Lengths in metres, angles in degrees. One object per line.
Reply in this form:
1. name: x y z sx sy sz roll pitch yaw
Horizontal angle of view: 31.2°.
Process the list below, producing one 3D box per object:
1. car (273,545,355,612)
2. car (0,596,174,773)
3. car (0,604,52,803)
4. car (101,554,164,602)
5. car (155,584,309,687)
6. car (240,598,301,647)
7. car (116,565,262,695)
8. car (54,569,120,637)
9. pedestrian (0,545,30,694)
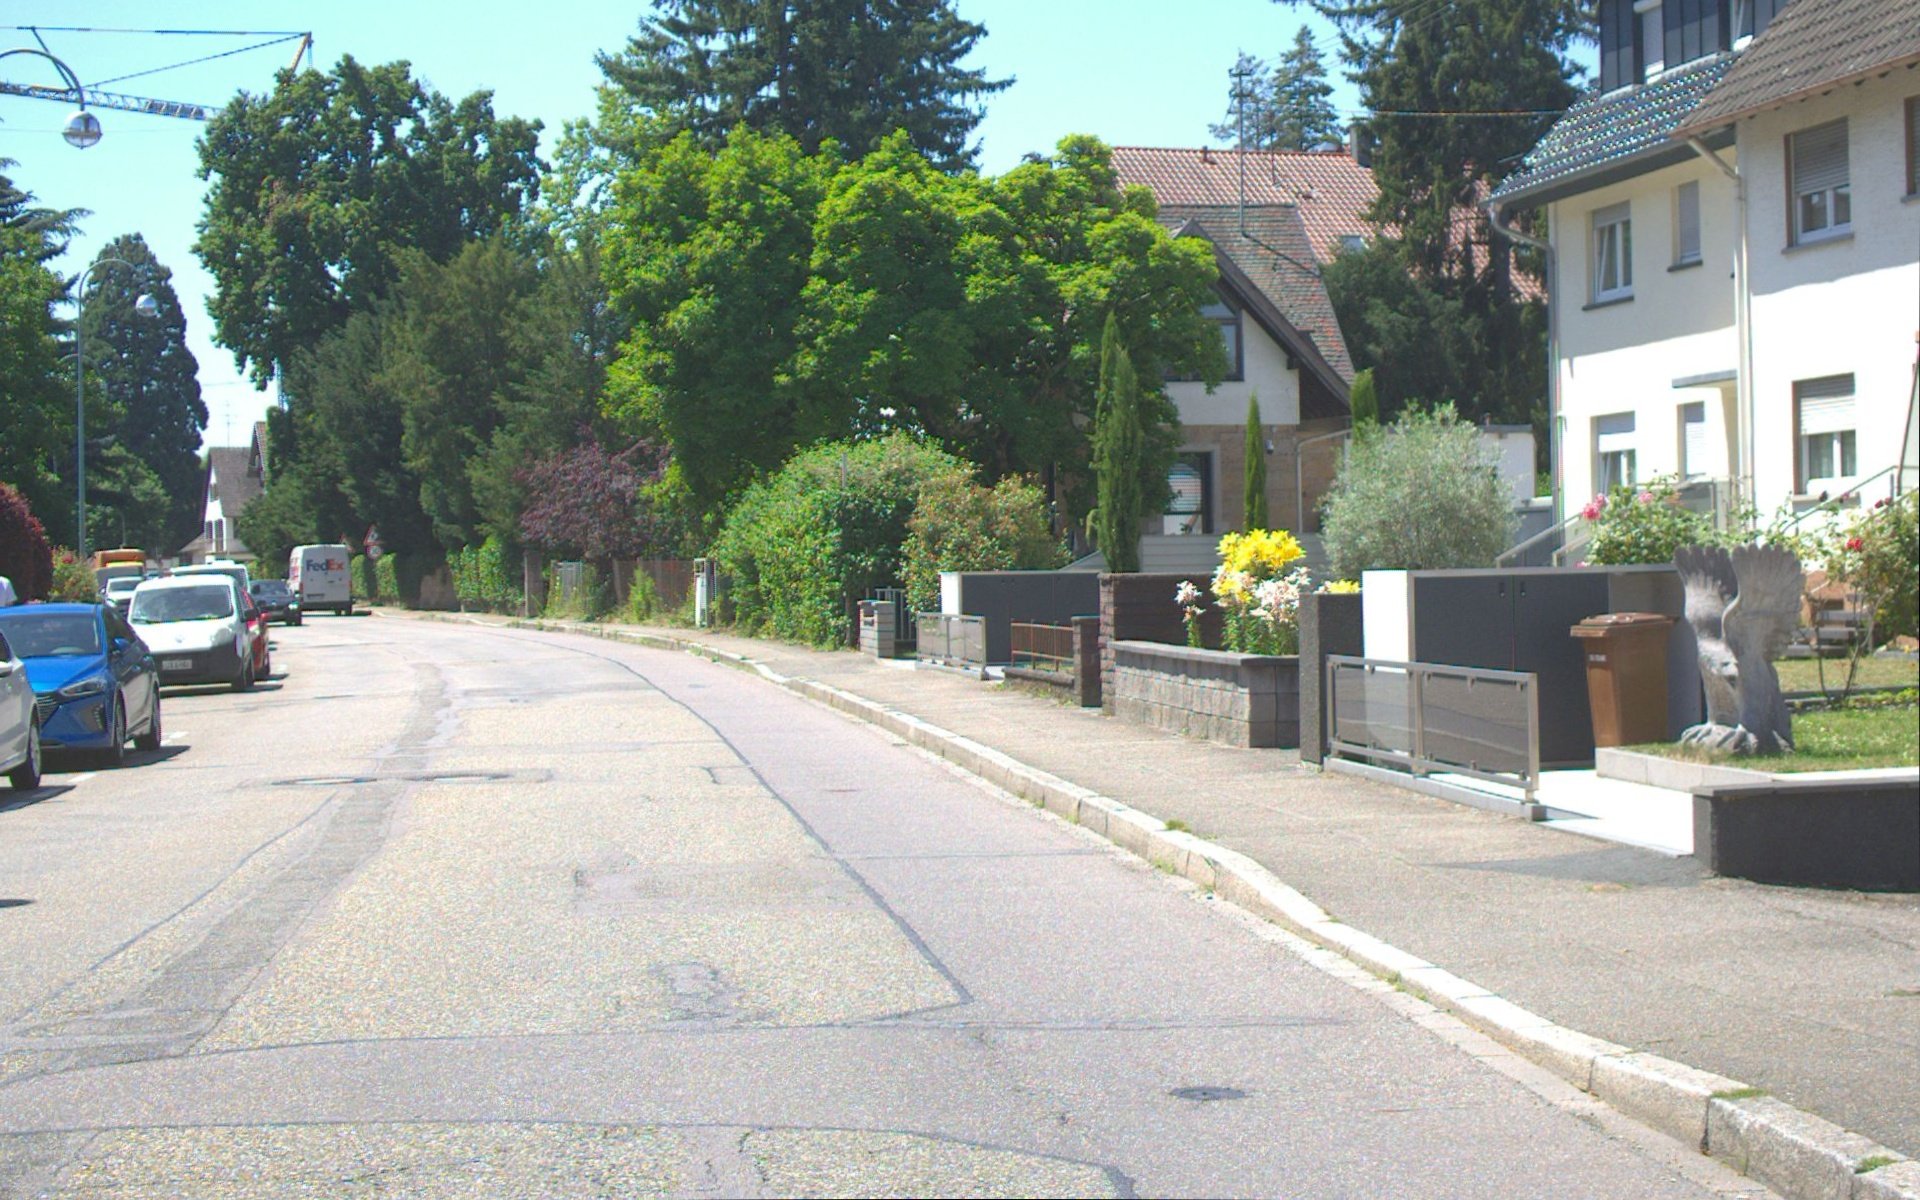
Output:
1. car: -23.557 -0.793 125.172 2.143 2.307 4.854 -3 1 -19
2. car: -8.336 0.733 31.285 1.769 1.434 4.363 -3 1 -6
3. car: -7.882 0.807 25.528 1.578 1.418 3.941 -3 1 -6
4. car: -31.347 -0.823 130.086 1.850 1.665 4.714 -3 1 -18
5. car: -11.705 0.545 55.506 1.760 1.472 4.059 -3 1 -3
6. car: -21.294 0.687 106.240 1.731 1.412 4.001 -3 0 -11
7. car: -11.272 0.406 50.449 1.722 1.730 3.888 -3 1 -9
8. car: -24.031 0.072 94.554 1.647 1.746 4.355 -3 1 -15
9. pedestrian: -12.502 0.236 44.287 0.689 1.883 1.019 4 -1 -3
